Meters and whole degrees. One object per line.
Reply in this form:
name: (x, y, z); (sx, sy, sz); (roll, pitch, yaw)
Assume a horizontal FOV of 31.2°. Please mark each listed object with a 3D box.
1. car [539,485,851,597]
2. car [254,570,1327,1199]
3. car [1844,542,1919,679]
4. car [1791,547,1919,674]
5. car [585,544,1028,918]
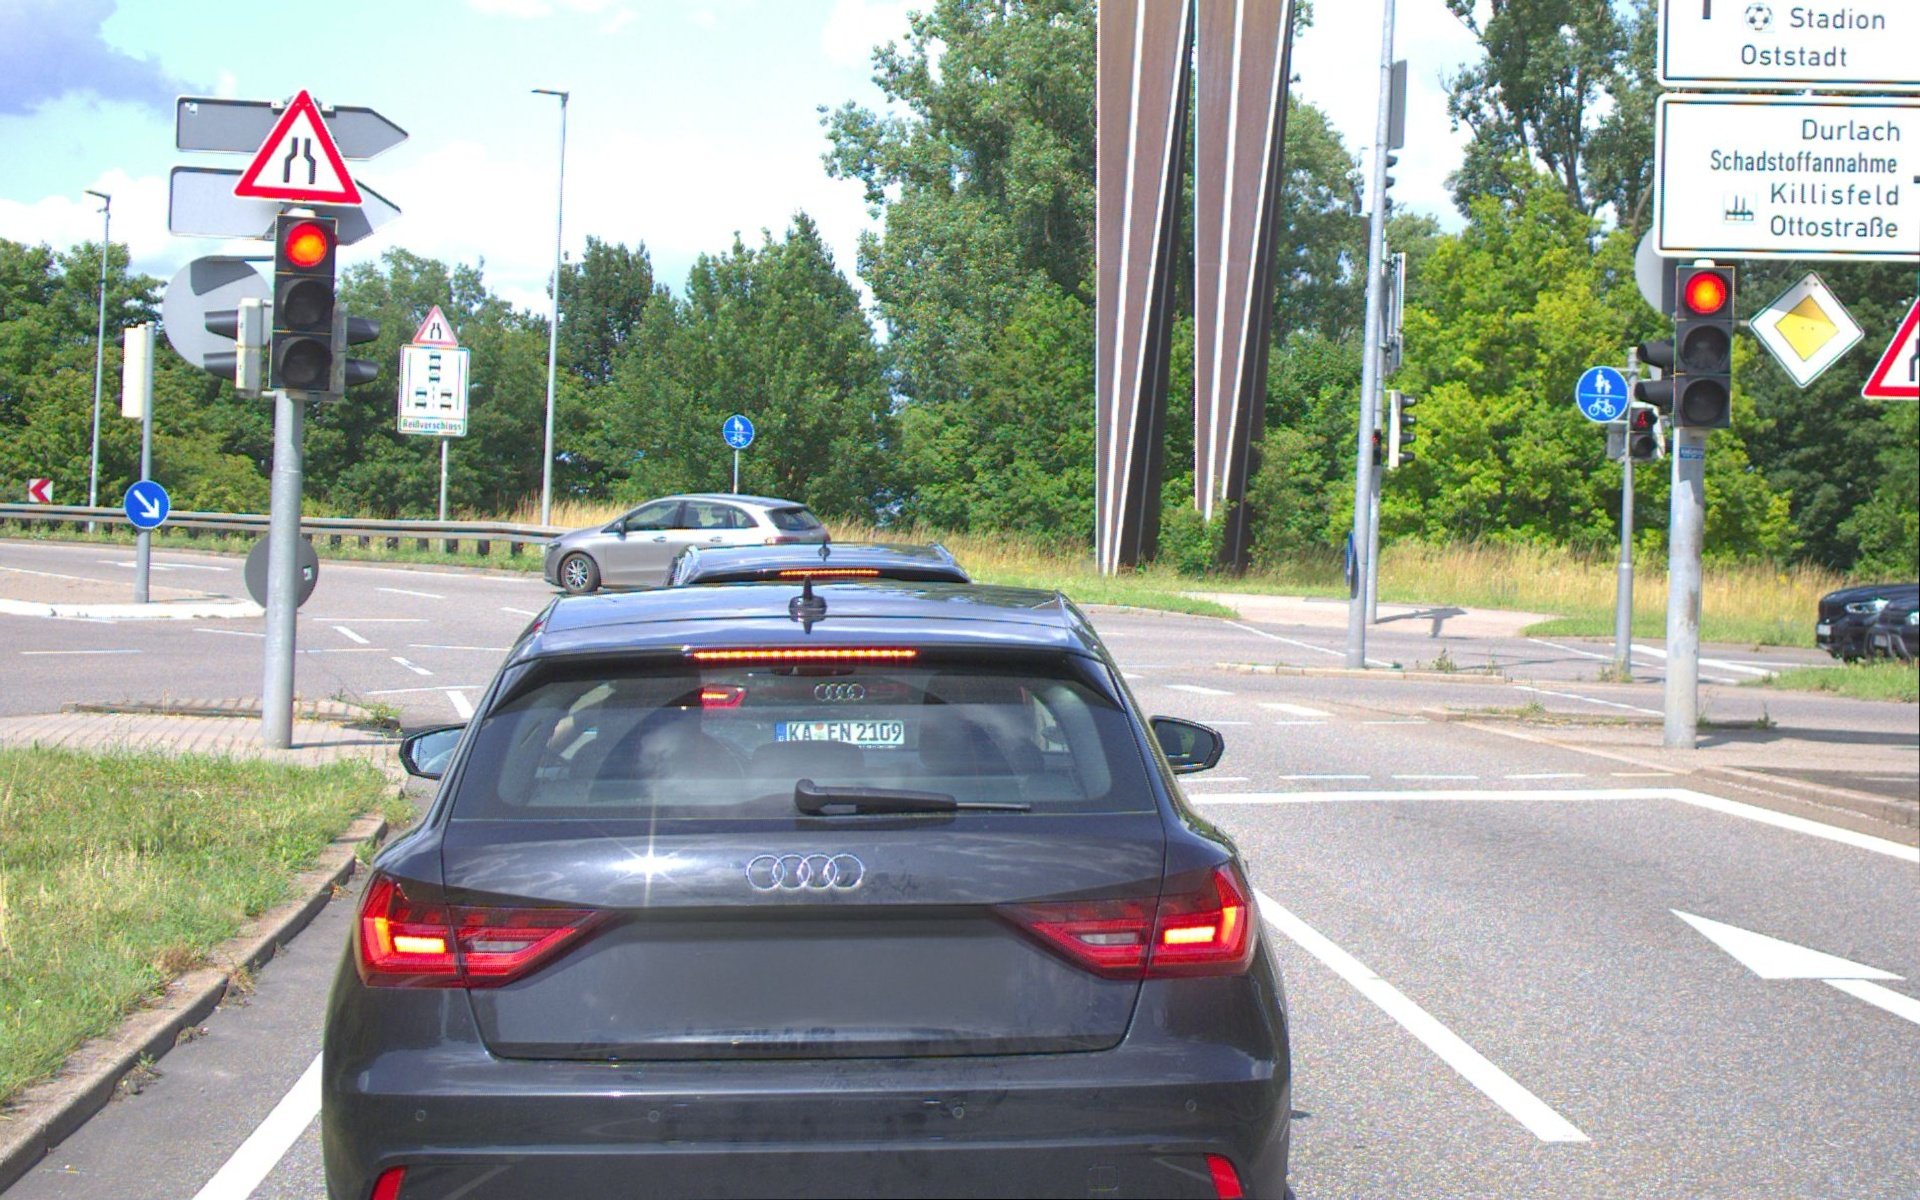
car: (-3.906, -0.875, 50.637); (4.112, 1.491, 1.997); (2, 1, 27)
car: (-0.294, 0.668, 7.546); (1.726, 1.399, 4.000); (0, 1, -1)
car: (12.646, 0.166, 39.888); (4.268, 1.539, 1.737); (2, 1, -1)
car: (13.236, 0.167, 43.741); (4.847, 1.539, 1.737); (2, 1, -1)
car: (-0.751, 0.477, 15.345); (1.726, 1.418, 3.845); (0, 1, -5)
